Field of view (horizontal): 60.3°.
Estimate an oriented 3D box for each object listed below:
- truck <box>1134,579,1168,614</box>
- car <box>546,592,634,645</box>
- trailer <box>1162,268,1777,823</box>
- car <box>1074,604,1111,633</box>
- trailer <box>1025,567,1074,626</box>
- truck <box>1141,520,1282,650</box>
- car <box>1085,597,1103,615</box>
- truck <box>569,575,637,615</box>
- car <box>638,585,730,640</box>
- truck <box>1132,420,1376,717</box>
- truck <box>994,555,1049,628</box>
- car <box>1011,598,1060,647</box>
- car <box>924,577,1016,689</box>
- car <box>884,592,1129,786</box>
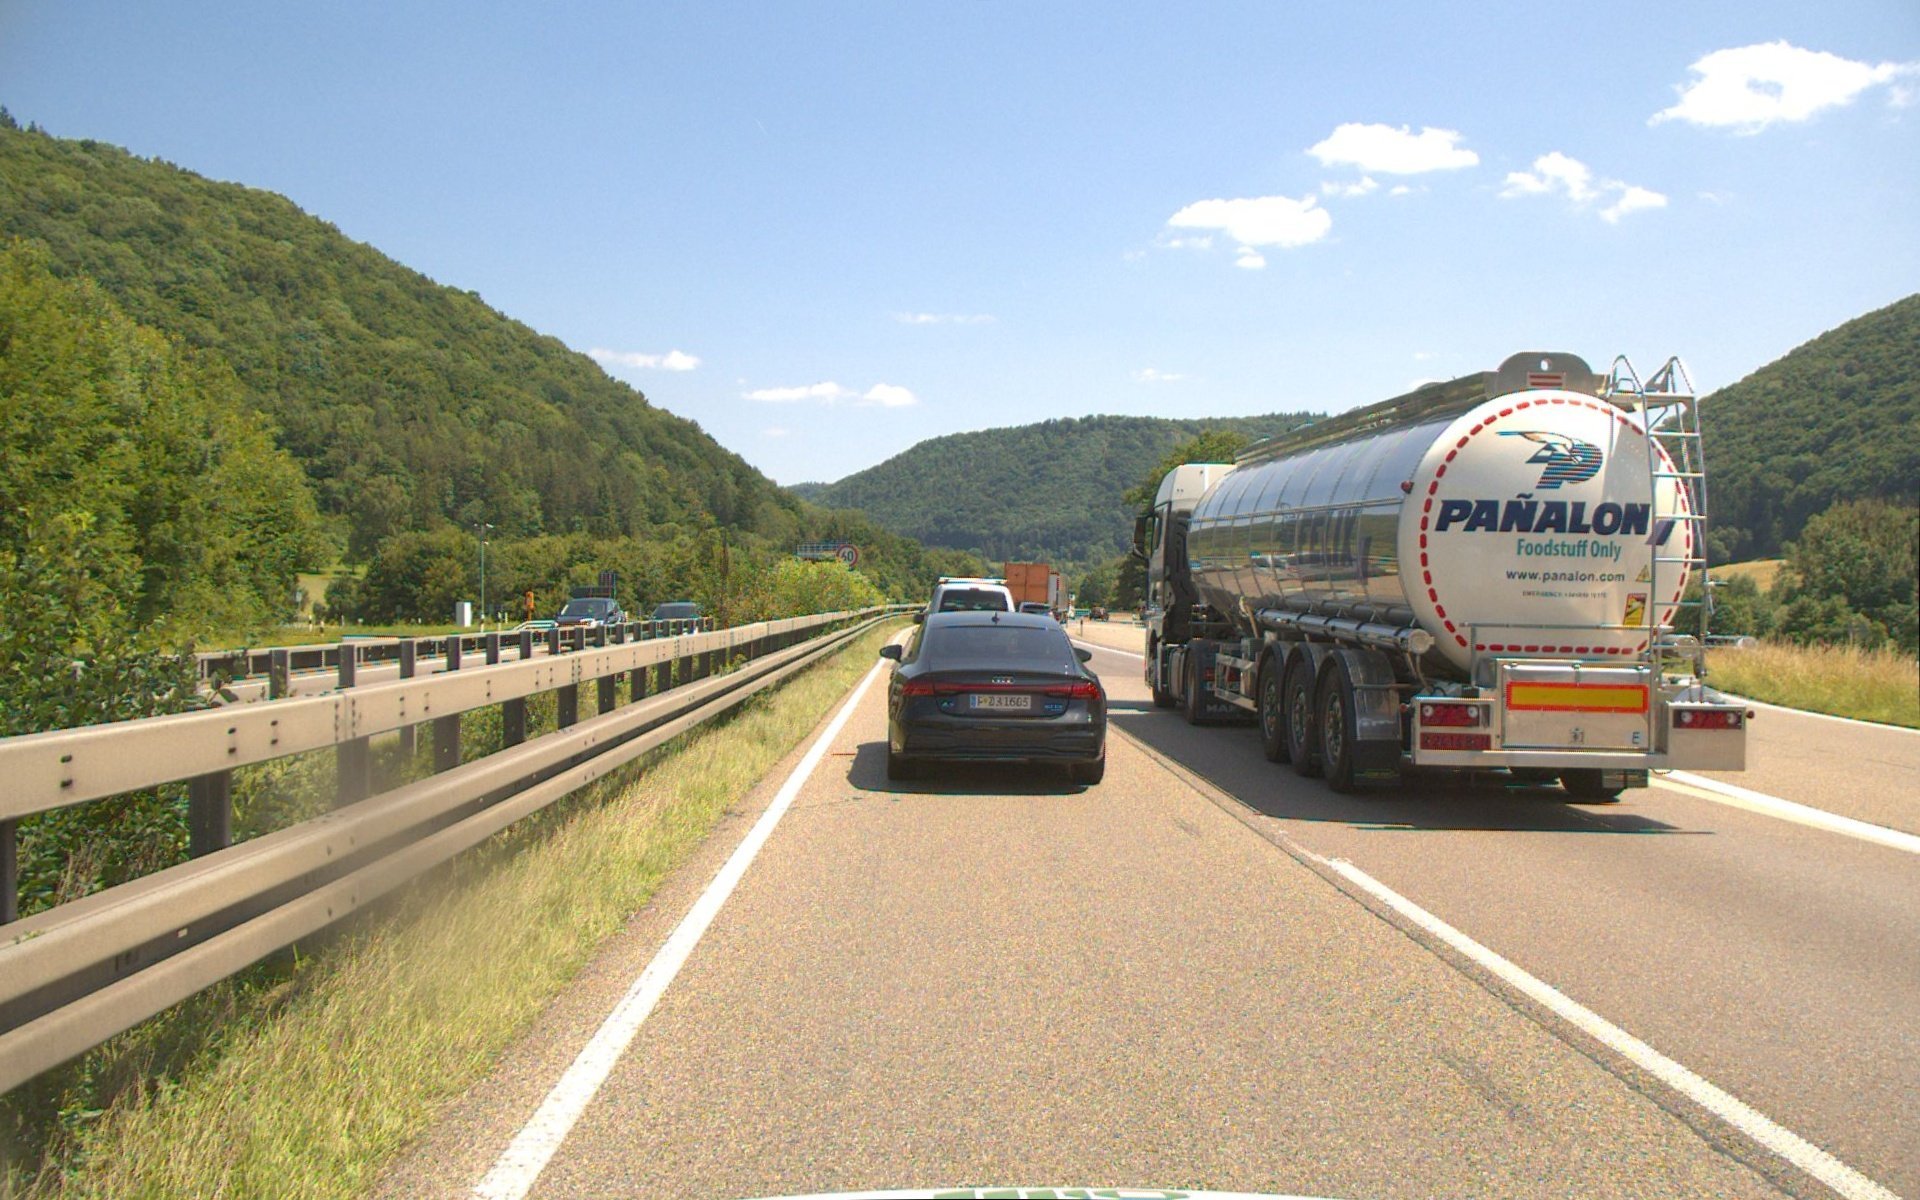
[{"bbox_3d":[25.112,-0.460,217.017,3.712,4.491,14.967,0,0,9],"label":"truck"},{"bbox_3d":[-11.915,0.562,53.511,1.883,1.649,4.560,0,0,-1],"label":"car"},{"bbox_3d":[4.252,-0.383,17.355,2.487,3.801,11.887,0,0,-2],"label":"trailer"},{"bbox_3d":[7.155,0.974,89.463,1.711,1.557,4.000,0,0,1],"label":"car"},{"bbox_3d":[7.002,-0.299,130.456,2.954,4.459,10.982,0,0,-1],"label":"trailer"},{"bbox_3d":[8.742,-0.481,59.578,2.760,4.073,14.954,0,0,0],"label":"truck"},{"bbox_3d":[15.856,0.718,195.190,1.951,2.049,4.003,0,0,6],"label":"car"},{"bbox_3d":[-25.488,-0.366,118.504,3.510,2.742,8.442,0,0,-3],"label":"truck"},{"bbox_3d":[-7.973,0.348,48.159,1.953,1.545,4.676,0,0,-1],"label":"car"},{"bbox_3d":[4.081,-0.406,24.023,2.461,3.824,5.244,0,0,-2],"label":"truck"},{"bbox_3d":[3.628,-0.502,100.823,2.760,4.073,14.954,0,0,0],"label":"truck"},{"bbox_3d":[3.231,0.953,71.575,1.953,2.038,4.000,0,0,0],"label":"car"},{"bbox_3d":[0.131,0.555,29.869,1.544,1.865,3.999,0,0,-1],"label":"car"},{"bbox_3d":[0.277,0.694,14.993,1.813,1.514,4.079,0,0,-4],"label":"car"}]
